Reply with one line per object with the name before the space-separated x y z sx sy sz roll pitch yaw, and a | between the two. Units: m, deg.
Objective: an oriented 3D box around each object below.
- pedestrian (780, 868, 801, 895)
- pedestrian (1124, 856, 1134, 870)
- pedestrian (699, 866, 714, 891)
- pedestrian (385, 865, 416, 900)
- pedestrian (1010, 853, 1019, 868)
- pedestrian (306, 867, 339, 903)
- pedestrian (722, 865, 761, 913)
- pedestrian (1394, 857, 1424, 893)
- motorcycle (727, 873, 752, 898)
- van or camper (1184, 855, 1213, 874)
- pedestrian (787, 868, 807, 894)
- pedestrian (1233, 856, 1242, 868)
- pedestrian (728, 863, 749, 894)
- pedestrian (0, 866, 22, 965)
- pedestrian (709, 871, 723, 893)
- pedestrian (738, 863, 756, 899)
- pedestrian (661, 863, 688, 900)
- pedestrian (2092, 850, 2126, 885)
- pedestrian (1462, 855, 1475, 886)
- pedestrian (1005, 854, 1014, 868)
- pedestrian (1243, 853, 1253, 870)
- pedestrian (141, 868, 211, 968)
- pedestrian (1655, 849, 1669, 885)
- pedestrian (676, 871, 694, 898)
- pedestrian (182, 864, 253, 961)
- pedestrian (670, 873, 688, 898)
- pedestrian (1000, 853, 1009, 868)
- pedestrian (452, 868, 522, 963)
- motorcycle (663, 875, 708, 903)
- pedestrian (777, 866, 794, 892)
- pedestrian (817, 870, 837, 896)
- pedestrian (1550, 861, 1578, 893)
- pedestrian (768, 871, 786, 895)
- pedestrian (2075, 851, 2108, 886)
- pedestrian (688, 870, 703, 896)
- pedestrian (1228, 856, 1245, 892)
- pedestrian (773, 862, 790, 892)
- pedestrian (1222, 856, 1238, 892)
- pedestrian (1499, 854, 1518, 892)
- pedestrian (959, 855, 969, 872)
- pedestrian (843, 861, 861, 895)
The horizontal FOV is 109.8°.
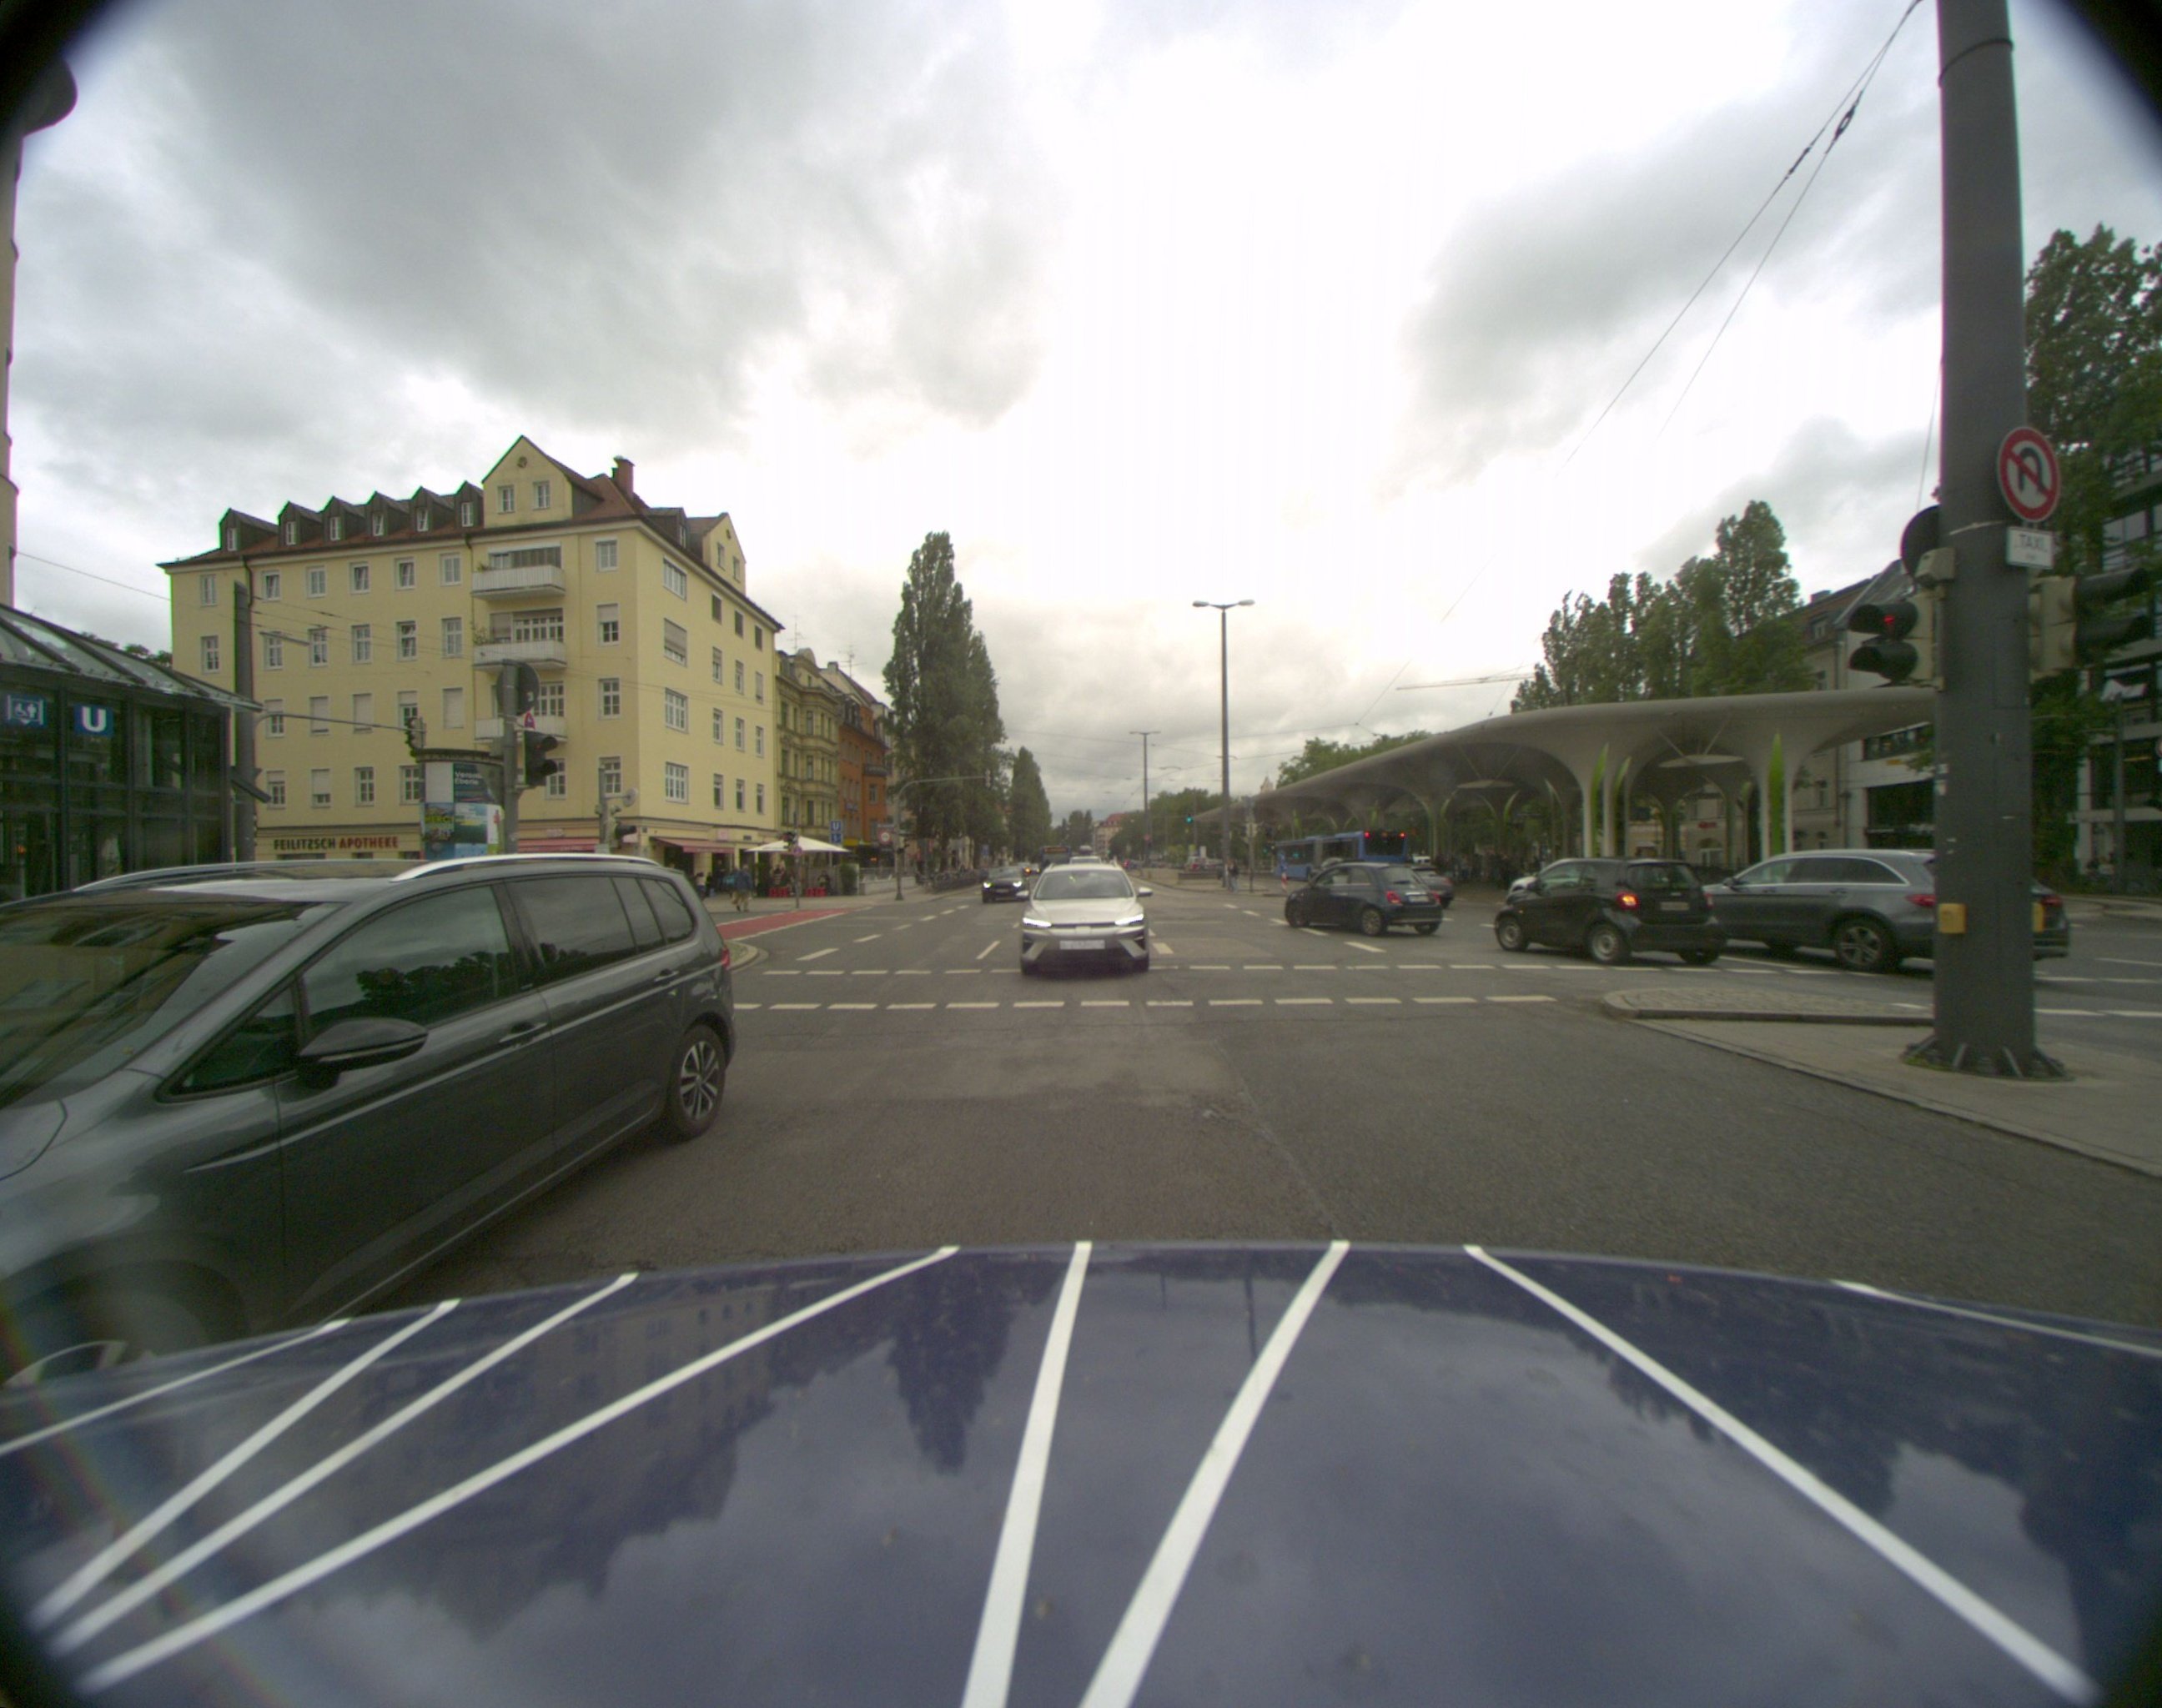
pedestrian | -14.627 1.392 38.262 0.679 1.304 0.796 -1 0 1
pedestrian | 6.105 1.118 95.948 0.862 1.801 0.895 -3 1 -29
pedestrian | -19.094 1.251 38.782 0.479 1.291 0.527 -1 0 -1
pedestrian | -32.779 1.364 36.619 0.852 1.673 0.705 -1 0 11
pedestrian | -8.295 0.837 94.365 0.881 1.790 0.757 -2 -1 11
pedestrian | -35.232 1.433 35.302 0.759 1.633 0.768 -1 0 11
pedestrian | -12.912 1.320 28.910 0.935 1.745 1.066 -1 0 6
pedestrian | 15.595 1.005 36.119 0.974 1.671 0.840 -1 0 -19
motorcycle | -16.836 1.521 37.459 0.487 1.149 1.571 -1 0 1
van or camper | 11.892 1.042 77.224 1.933 1.815 5.440 -1 0 -2
pedestrian | -14.615 1.394 39.151 0.679 1.304 0.796 -1 0 1
pedestrian | 20.219 1.046 98.170 0.739 1.619 0.741 -1 0 -21
pedestrian | -18.281 1.295 40.597 0.712 1.623 0.786 -1 0 0
pedestrian | -18.909 1.053 12.900 0.747 1.694 0.682 0 -3 -11
pedestrian | -19.127 1.461 39.803 0.479 1.159 0.527 -1 0 -1
pedestrian | -15.908 1.276 36.212 0.761 1.685 0.766 -1 0 -25
pedestrian | -18.996 1.288 35.497 1.041 1.673 0.836 -1 0 -34
pedestrian | 46.203 0.601 34.157 0.593 1.583 0.674 -1 0 15
pedestrian | 19.694 0.834 38.615 0.519 1.579 0.481 -1 0 31
pedestrian | -8.742 0.849 93.134 0.758 1.628 0.699 -1 -1 -43
pedestrian | 18.340 0.797 83.476 0.667 1.828 0.809 -1 0 -29
pedestrian | -15.420 1.080 12.952 0.566 1.660 0.563 -1 -3 23
pedestrian | 30.850 0.679 40.371 0.484 1.921 0.422 -1 0 -28
pedestrian | -19.645 1.509 37.714 0.515 1.284 0.703 -1 0 -1
pedestrian | -16.032 1.078 14.117 0.649 1.740 0.638 -1 -3 23
pedestrian | -19.507 1.538 36.861 0.515 1.175 0.703 -1 0 -1
pedestrian | -9.303 0.749 92.477 0.699 1.770 0.652 -2 -1 34
pedestrian | -11.053 1.104 14.151 0.834 1.681 0.821 -1 0 38
motorcycle | -17.615 1.543 33.849 1.769 1.193 0.541 -1 1 -29
pedestrian | -16.221 1.351 41.697 0.677 1.414 0.616 -1 0 0
pedestrian | -13.015 1.489 38.934 0.679 1.303 0.796 -1 0 1
pedestrian | 22.043 1.055 34.668 1.022 1.444 0.855 -1 0 30
pedestrian | -15.600 1.471 39.014 0.627 1.196 0.700 -1 0 1
pedestrian | 45.263 0.650 34.048 0.593 1.583 0.674 -1 0 15
pedestrian | -19.661 1.491 38.725 0.479 1.291 0.527 -1 0 -1
pedestrian | 7.083 0.907 34.593 0.488 1.609 0.556 -1 1 -34
pedestrian | -16.727 1.274 42.439 0.616 1.623 0.677 -1 0 0
pedestrian | 6.842 0.921 34.924 0.520 1.609 0.465 0 1 44
pedestrian | 19.118 0.847 33.958 0.548 1.710 0.615 -1 1 8
pedestrian | -10.892 0.906 70.673 0.761 1.553 0.763 -1 0 2
pedestrian | -11.799 1.224 39.150 0.884 1.733 0.857 -1 0 -16
